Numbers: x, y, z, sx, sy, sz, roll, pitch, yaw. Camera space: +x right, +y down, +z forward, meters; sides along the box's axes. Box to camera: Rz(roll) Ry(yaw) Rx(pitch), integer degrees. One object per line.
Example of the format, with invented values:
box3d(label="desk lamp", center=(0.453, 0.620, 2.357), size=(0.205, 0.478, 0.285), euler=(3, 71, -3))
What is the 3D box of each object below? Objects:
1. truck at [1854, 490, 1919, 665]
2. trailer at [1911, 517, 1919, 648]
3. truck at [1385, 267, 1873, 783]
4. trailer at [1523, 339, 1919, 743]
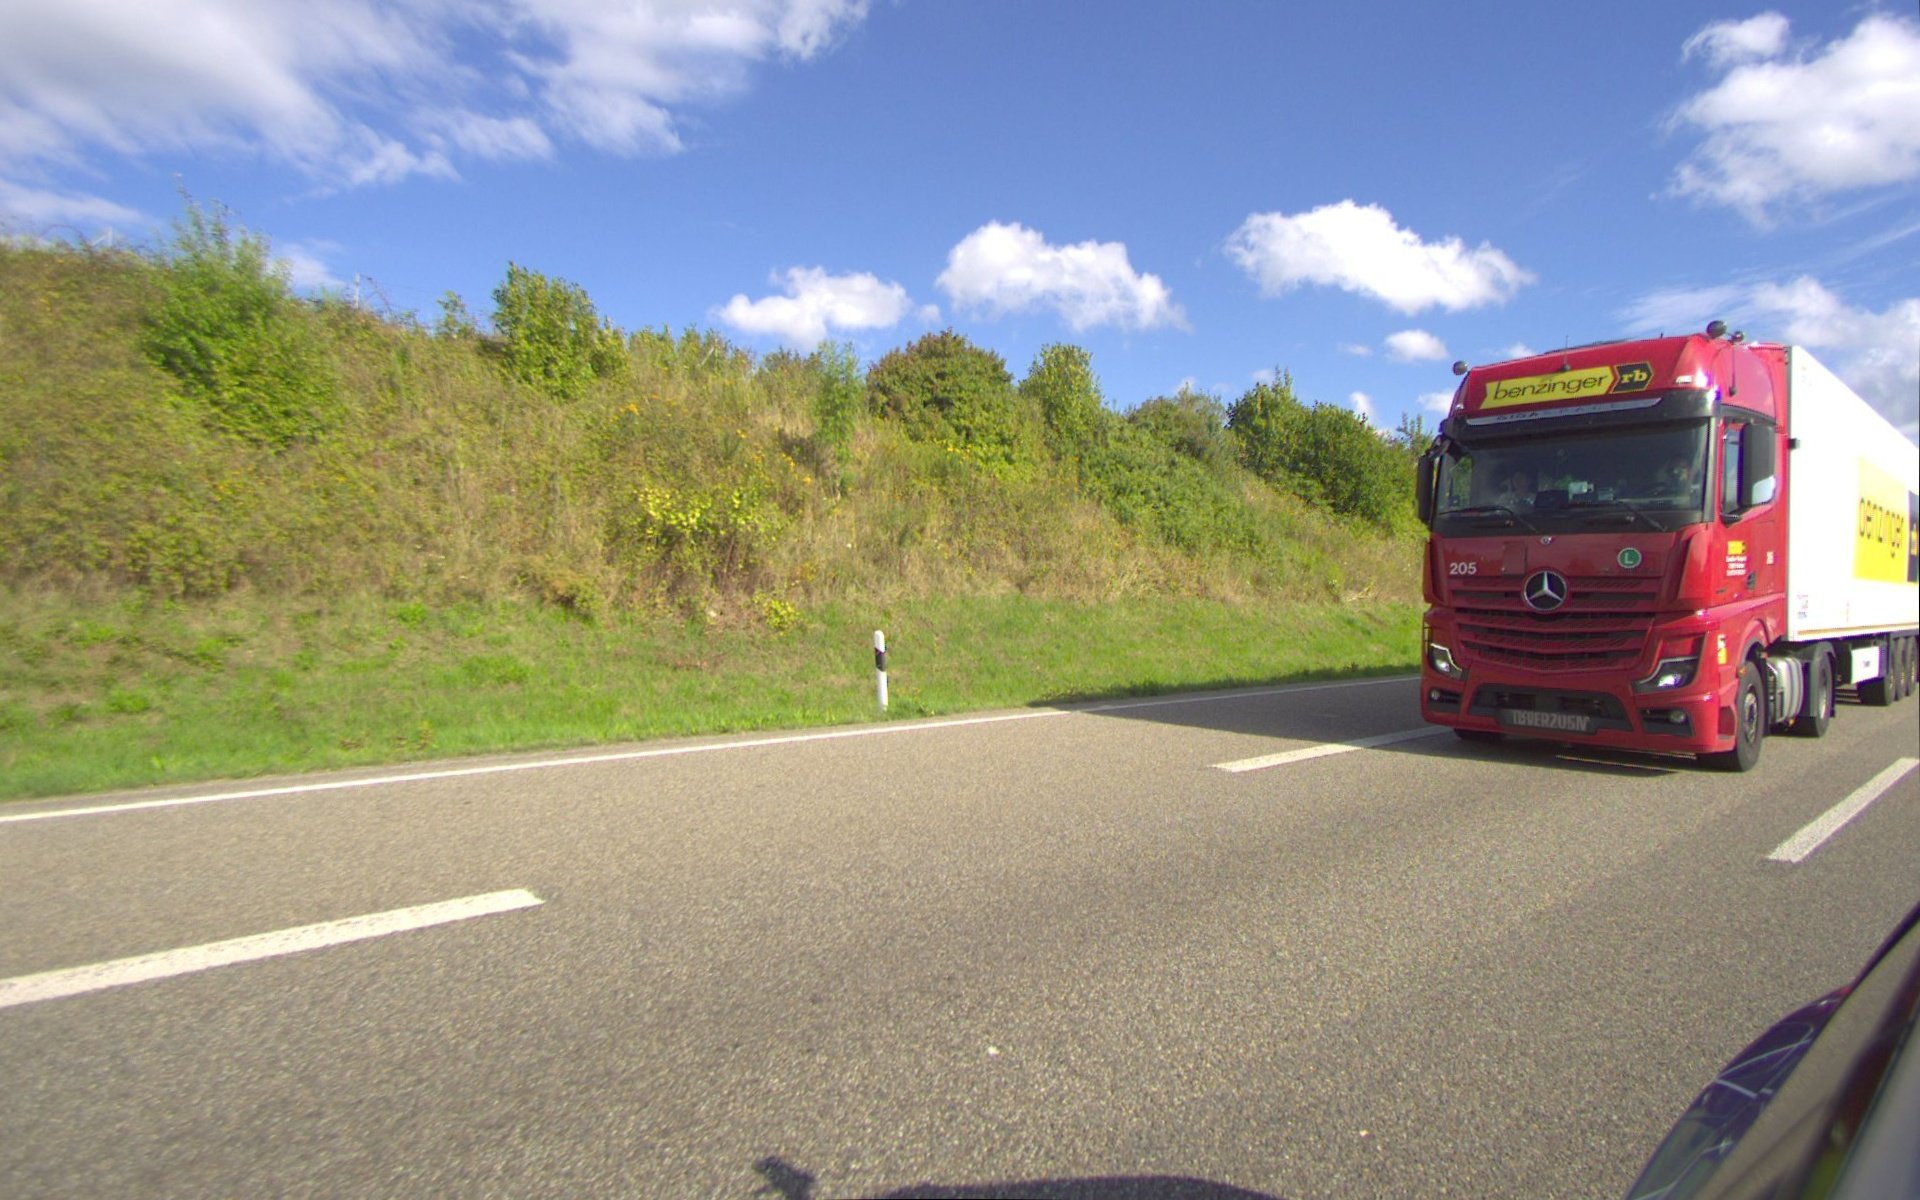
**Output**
box3d(label="truck", center=(26.342, -0.580, 26.647), size=(10.025, 4.090, 2.744), euler=(-1, -2, -41))
box3d(label="trailer", center=(33.342, -0.573, 32.775), size=(8.559, 4.013, 2.719), euler=(0, -3, -41))
box3d(label="truck", center=(7.291, -0.601, 10.754), size=(5.723, 3.989, 2.807), euler=(0, -1, -40))
box3d(label="trailer", center=(12.532, -0.633, 15.268), size=(12.841, 3.989, 2.796), euler=(-1, 0, -41))
